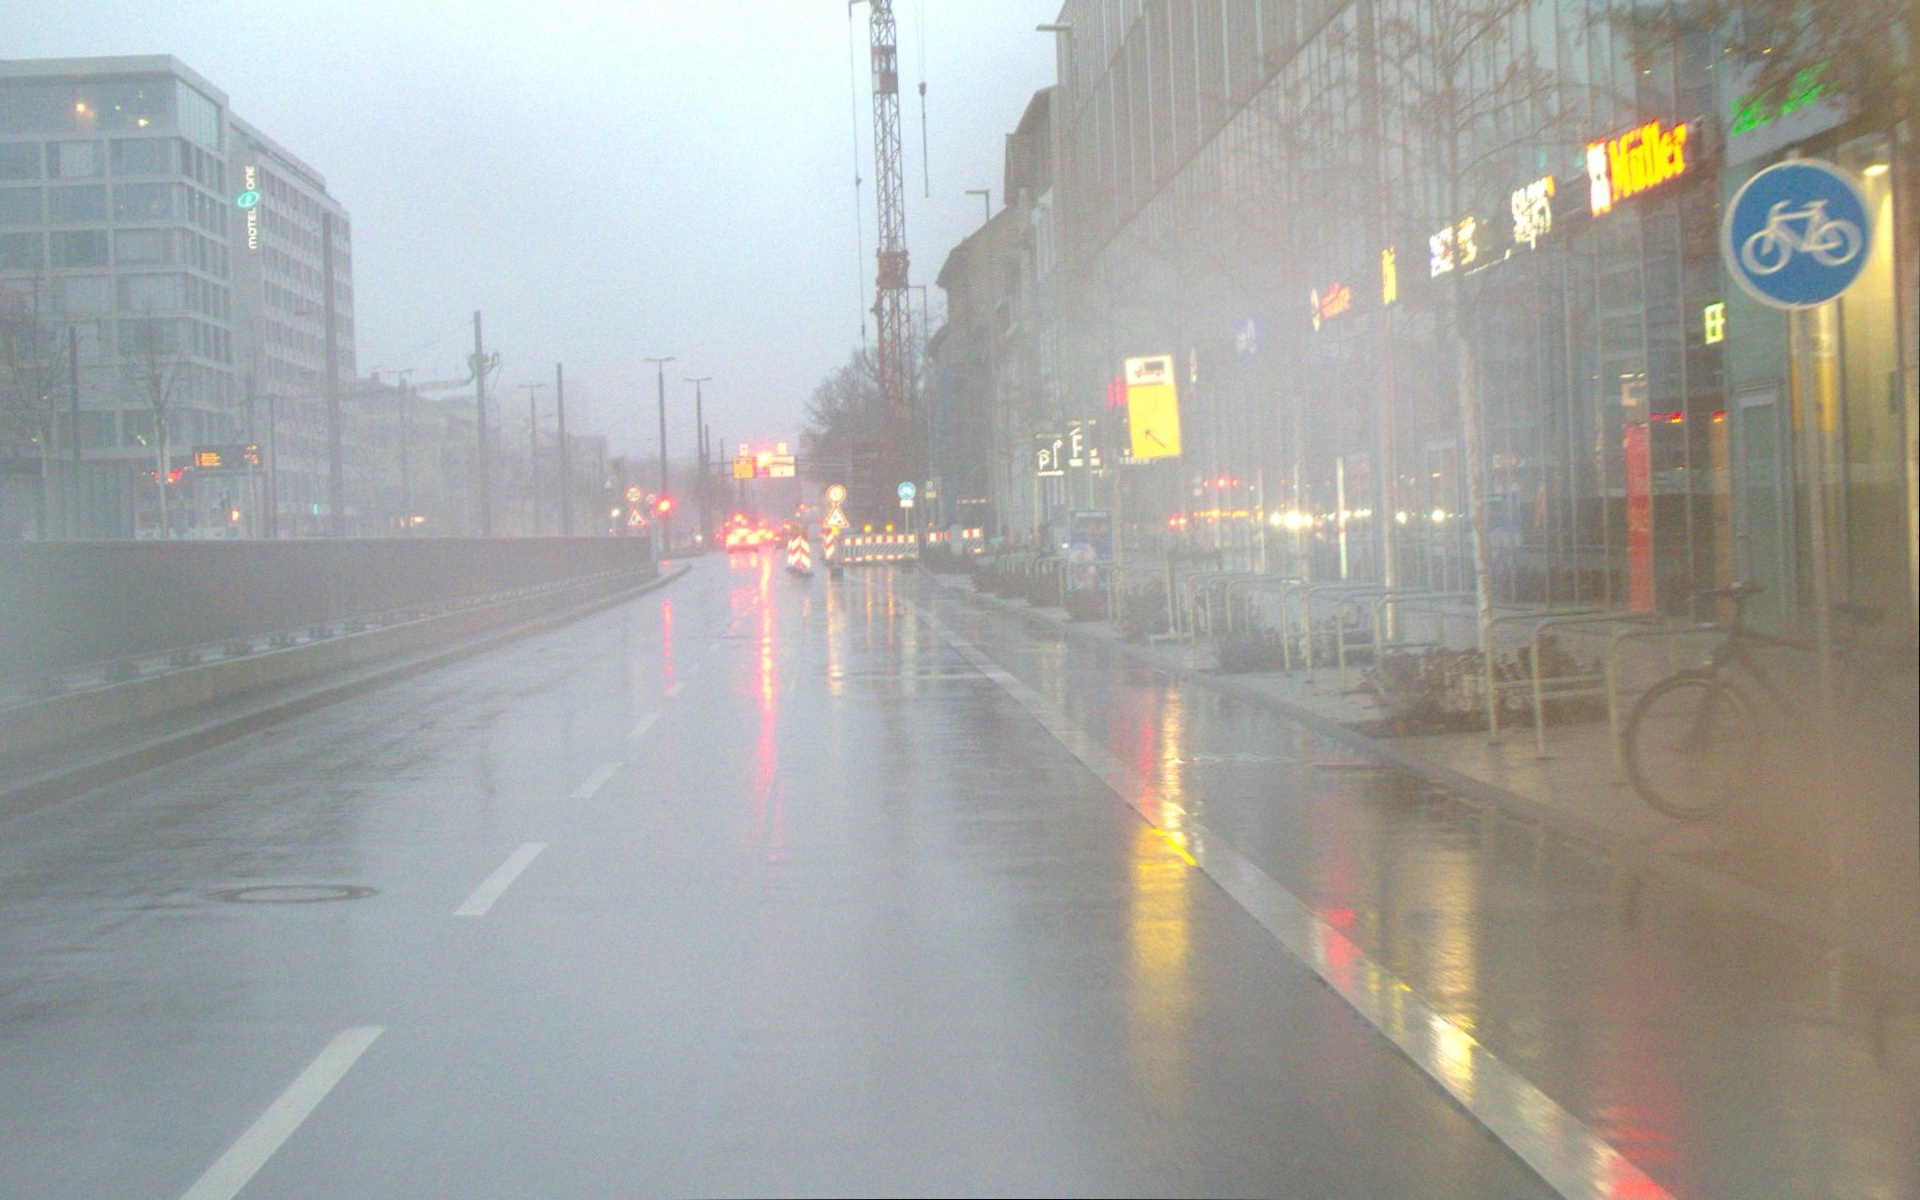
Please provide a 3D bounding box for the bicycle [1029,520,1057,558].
[{"bbox_3d":[2.827,-2.079,117.066,0.682,1.218,1.906,-5,1,-4],"label":"bicycle"}]

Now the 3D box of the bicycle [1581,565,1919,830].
[{"bbox_3d":[4.102,0.459,16.902,1.903,1.171,0.667,-3,1,-2],"label":"bicycle"}]

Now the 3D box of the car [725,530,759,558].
[{"bbox_3d":[-13.032,-3.366,205.547,1.901,1.636,4.001,-1,1,-2],"label":"car"}]

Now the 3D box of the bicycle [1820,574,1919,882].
[{"bbox_3d":[4.415,0.527,14.166,0.665,1.257,1.558,-2,2,-45],"label":"bicycle"}]

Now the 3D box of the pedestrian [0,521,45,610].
[{"bbox_3d":[-16.535,-0.605,60.475,0.584,1.545,0.740,-1,1,8],"label":"pedestrian"}]
